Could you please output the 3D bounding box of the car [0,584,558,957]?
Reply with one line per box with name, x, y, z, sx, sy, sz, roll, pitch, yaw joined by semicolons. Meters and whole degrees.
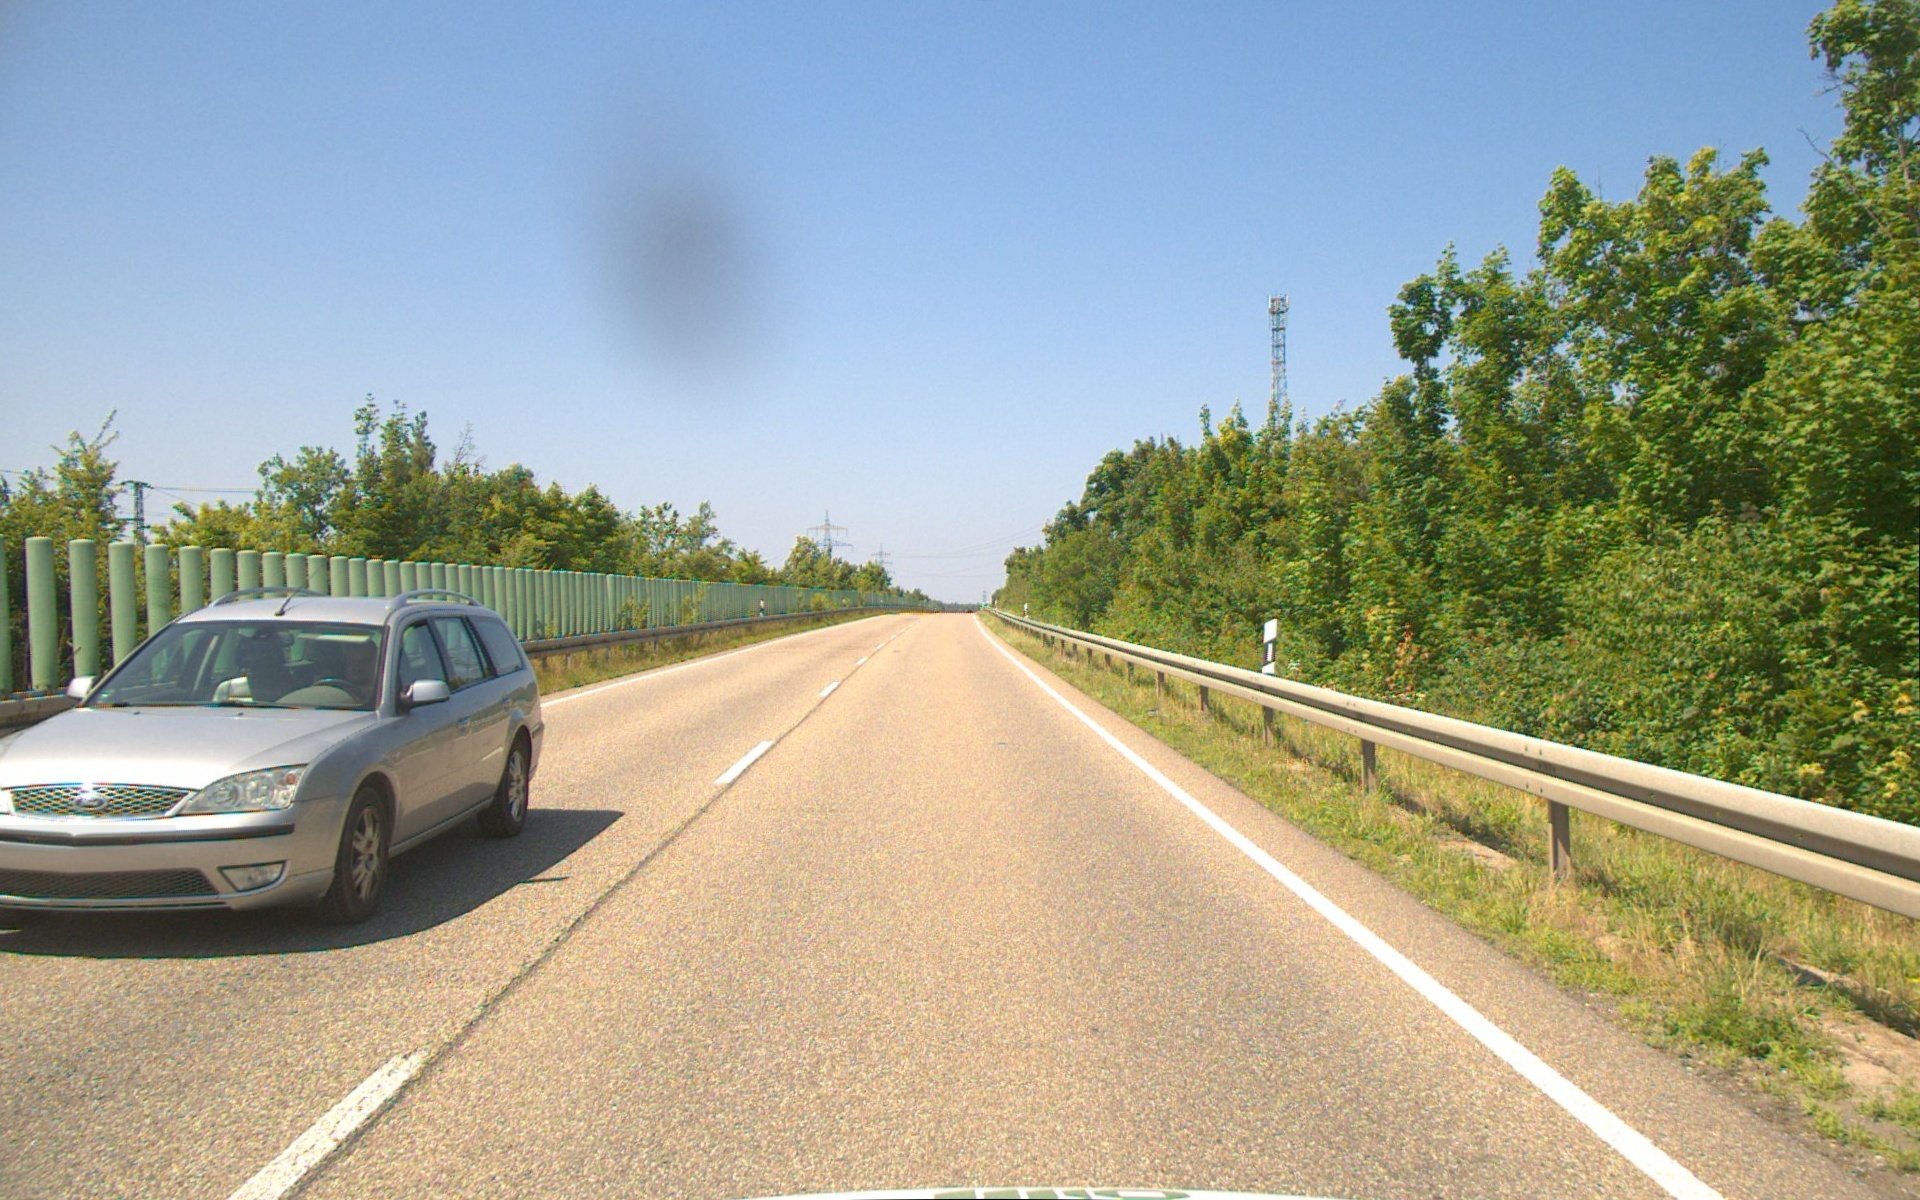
car;-3.480;0.689;8.904;1.685;1.527;4.247;0;0;-1
